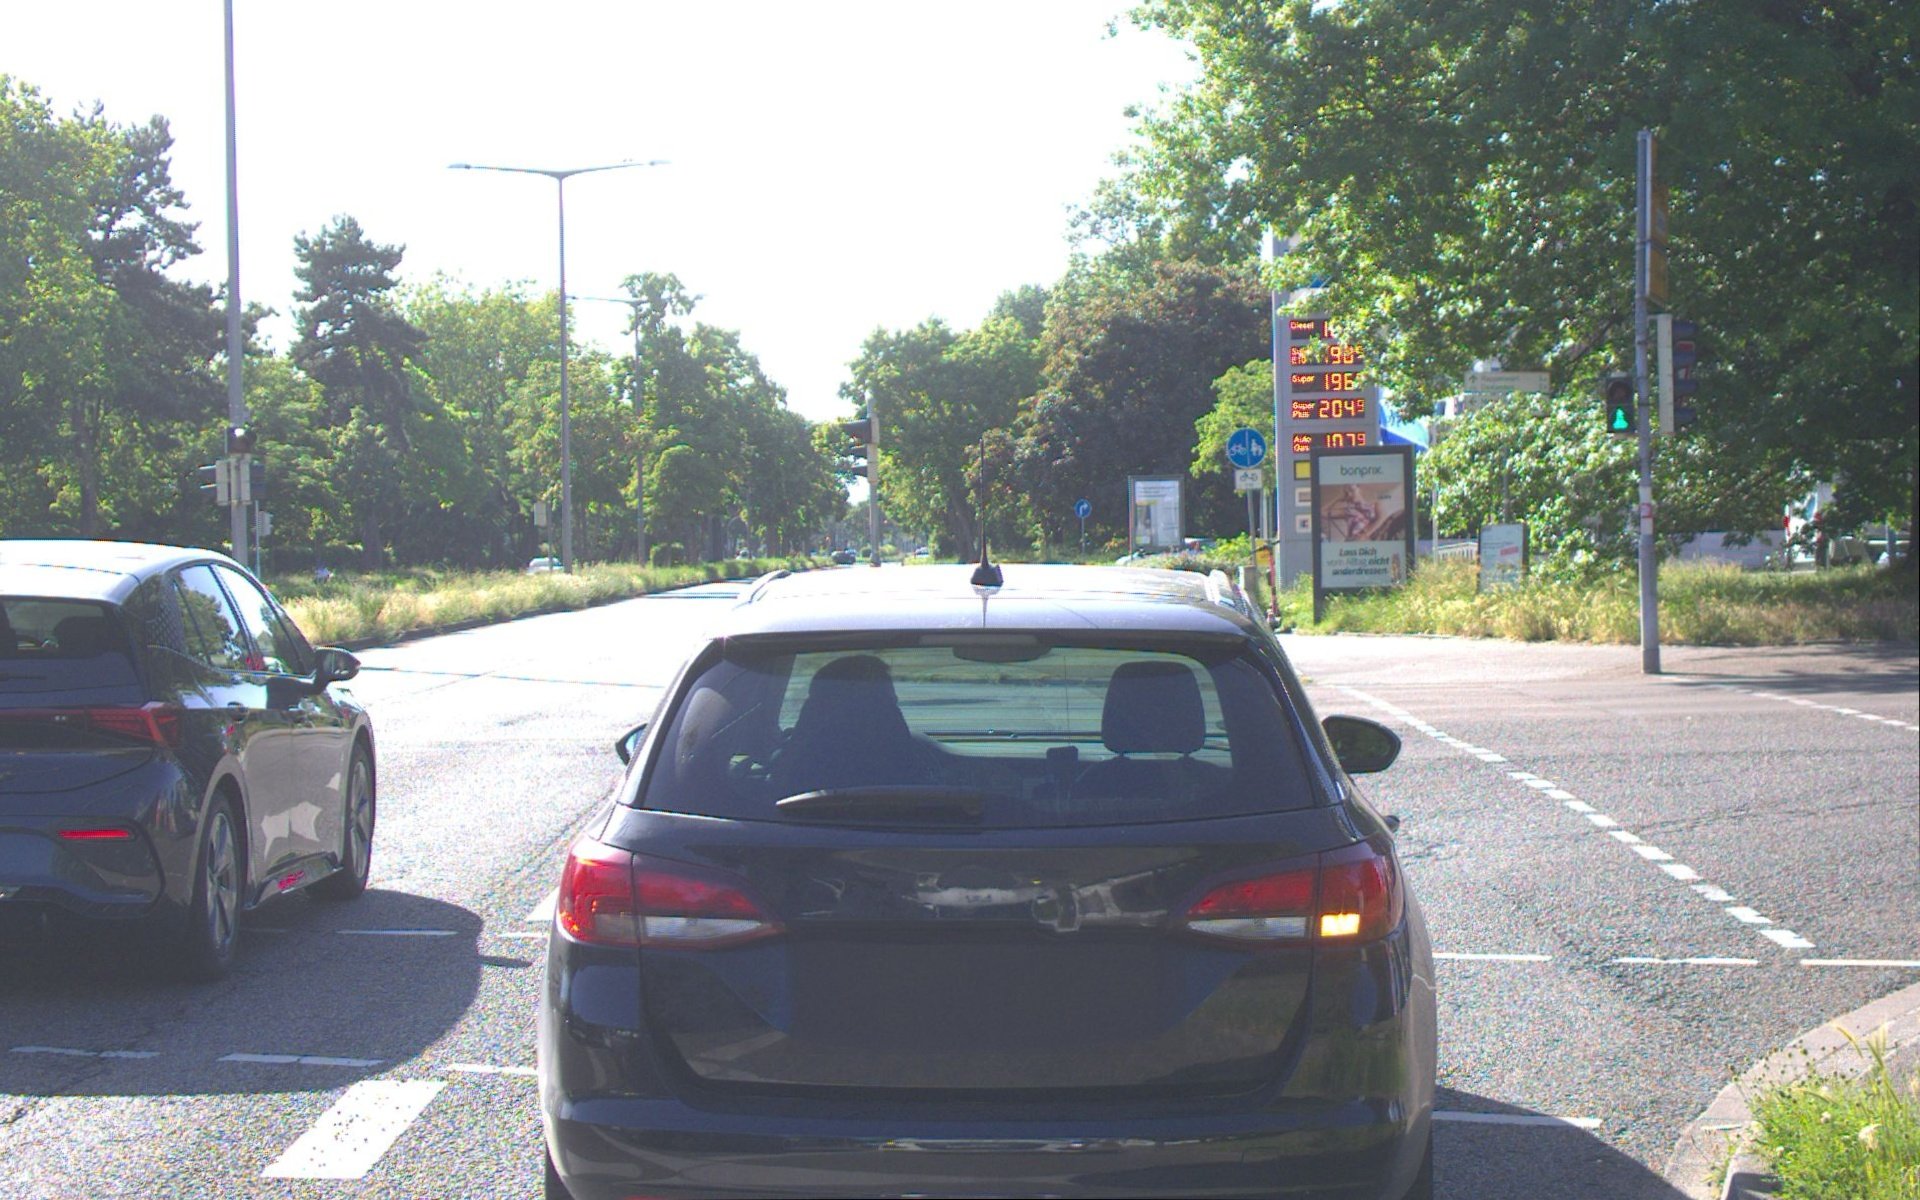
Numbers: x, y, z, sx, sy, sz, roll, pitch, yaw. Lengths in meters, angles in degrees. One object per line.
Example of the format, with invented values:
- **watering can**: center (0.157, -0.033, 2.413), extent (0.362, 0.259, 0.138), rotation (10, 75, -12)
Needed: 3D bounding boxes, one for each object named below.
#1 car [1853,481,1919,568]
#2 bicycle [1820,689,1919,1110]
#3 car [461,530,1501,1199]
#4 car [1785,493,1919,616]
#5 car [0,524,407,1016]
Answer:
- **car**: center (16.446, -1.162, 54.554), extent (3.986, 1.330, 1.800), rotation (1, 1, -11)
- **bicycle**: center (3.152, 0.722, 8.543), extent (1.868, 1.073, 0.530), rotation (-5, -3, 40)
- **car**: center (0.079, 0.620, 8.023), extent (1.762, 1.486, 4.291), rotation (-1, 2, 1)
- **car**: center (17.505, -0.759, 60.082), extent (5.635, 2.092, 2.000), rotation (1, 0, -1)
- **car**: center (-3.394, 0.520, 13.302), extent (1.836, 1.583, 4.365), rotation (1, 1, -1)
